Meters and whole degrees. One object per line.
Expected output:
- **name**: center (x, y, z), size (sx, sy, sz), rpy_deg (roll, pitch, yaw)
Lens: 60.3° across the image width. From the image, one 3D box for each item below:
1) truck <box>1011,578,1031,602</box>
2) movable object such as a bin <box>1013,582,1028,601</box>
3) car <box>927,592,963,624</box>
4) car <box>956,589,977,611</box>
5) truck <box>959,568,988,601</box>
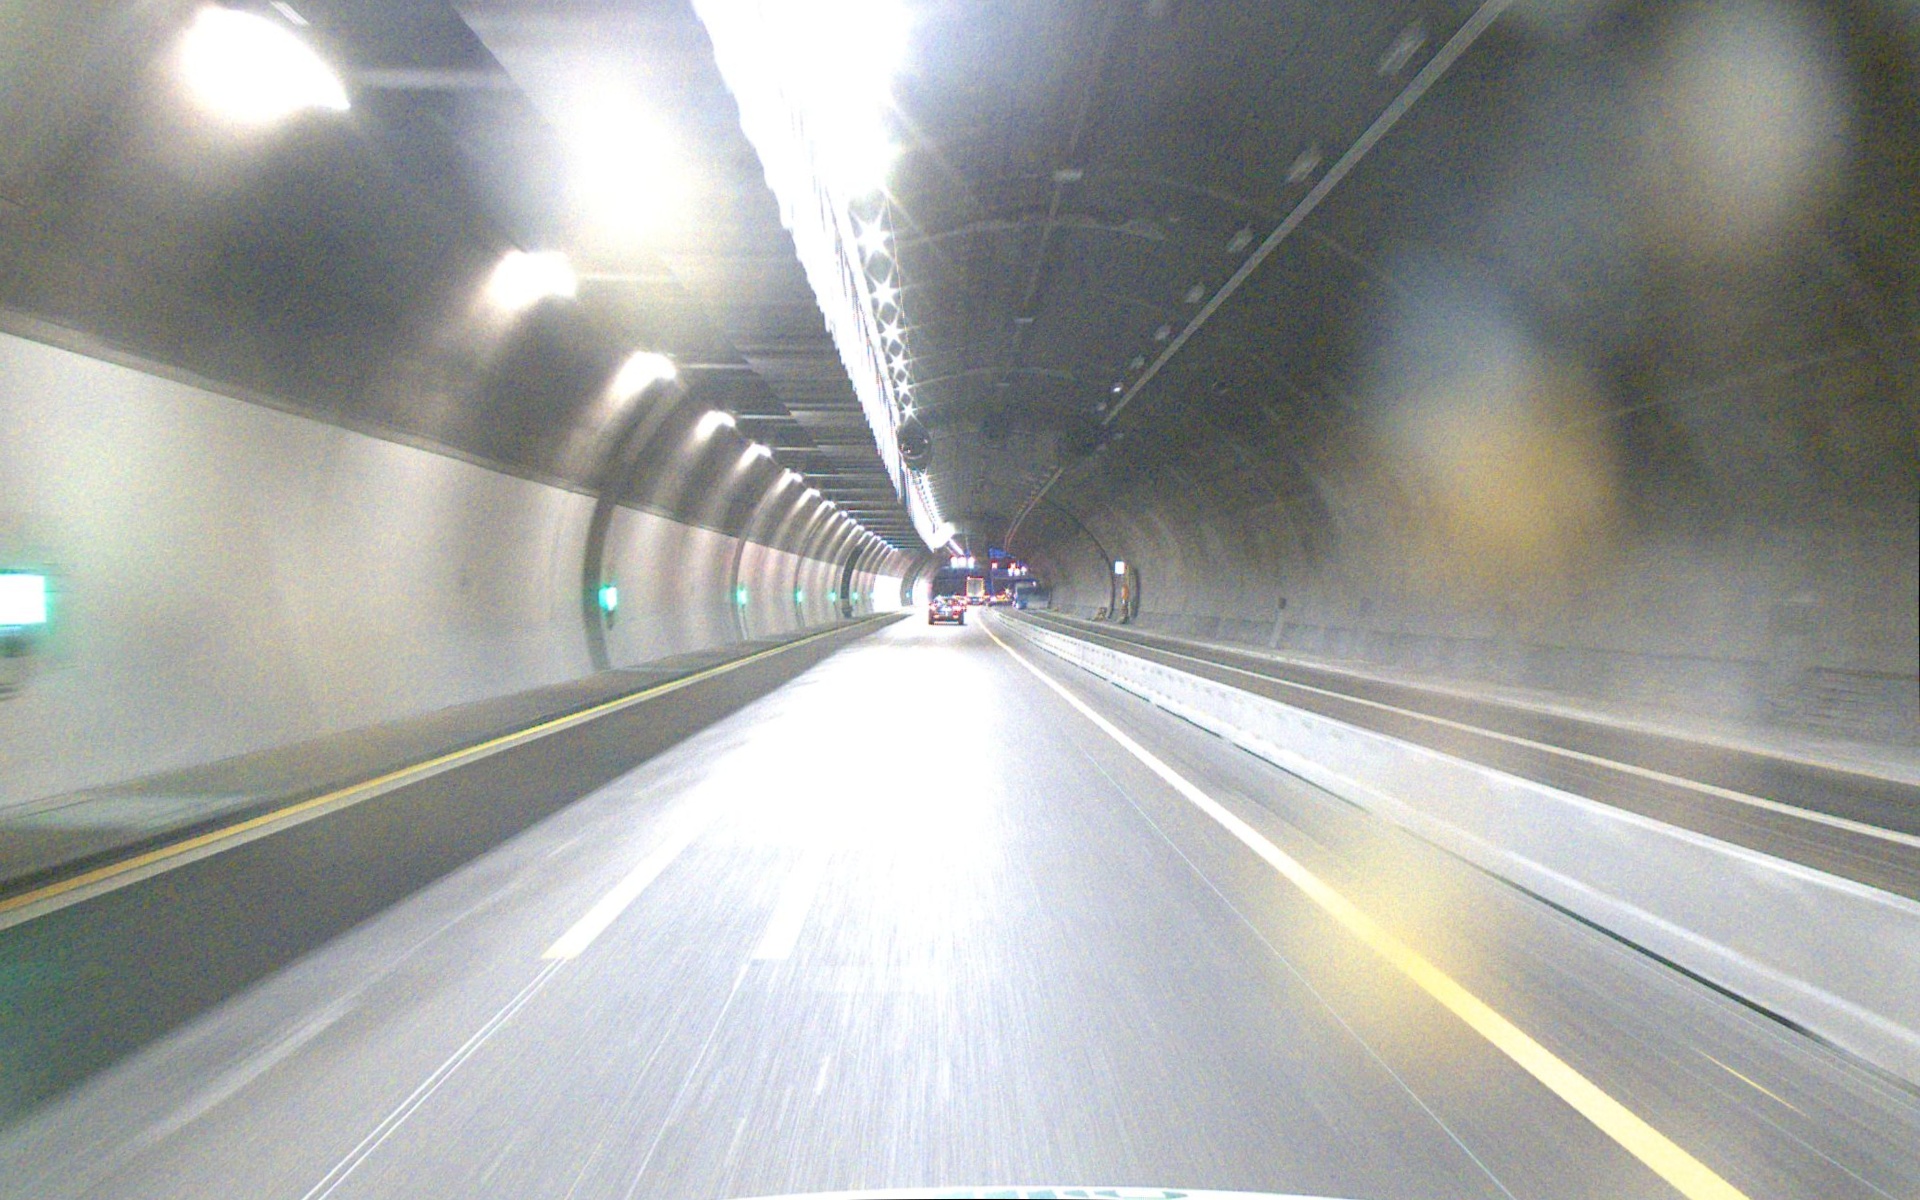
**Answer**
- **truck**: center (8.686, -1.430, 235.743), size (2.832, 3.329, 8.402), rpy_deg (0, 0, 1)
- **movable object such as a bin**: center (8.961, -1.225, 245.355), size (2.192, 2.843, 7.234), rpy_deg (0, 0, 1)
- **car**: center (-0.815, 0.433, 87.051), size (1.849, 1.635, 3.999), rpy_deg (0, 0, -2)
- **car**: center (0.611, -0.022, 155.331), size (1.953, 2.049, 3.999), rpy_deg (0, 0, -1)
- **truck**: center (2.183, -2.363, 259.623), size (4.452, 5.074, 9.600), rpy_deg (0, 0, 1)
